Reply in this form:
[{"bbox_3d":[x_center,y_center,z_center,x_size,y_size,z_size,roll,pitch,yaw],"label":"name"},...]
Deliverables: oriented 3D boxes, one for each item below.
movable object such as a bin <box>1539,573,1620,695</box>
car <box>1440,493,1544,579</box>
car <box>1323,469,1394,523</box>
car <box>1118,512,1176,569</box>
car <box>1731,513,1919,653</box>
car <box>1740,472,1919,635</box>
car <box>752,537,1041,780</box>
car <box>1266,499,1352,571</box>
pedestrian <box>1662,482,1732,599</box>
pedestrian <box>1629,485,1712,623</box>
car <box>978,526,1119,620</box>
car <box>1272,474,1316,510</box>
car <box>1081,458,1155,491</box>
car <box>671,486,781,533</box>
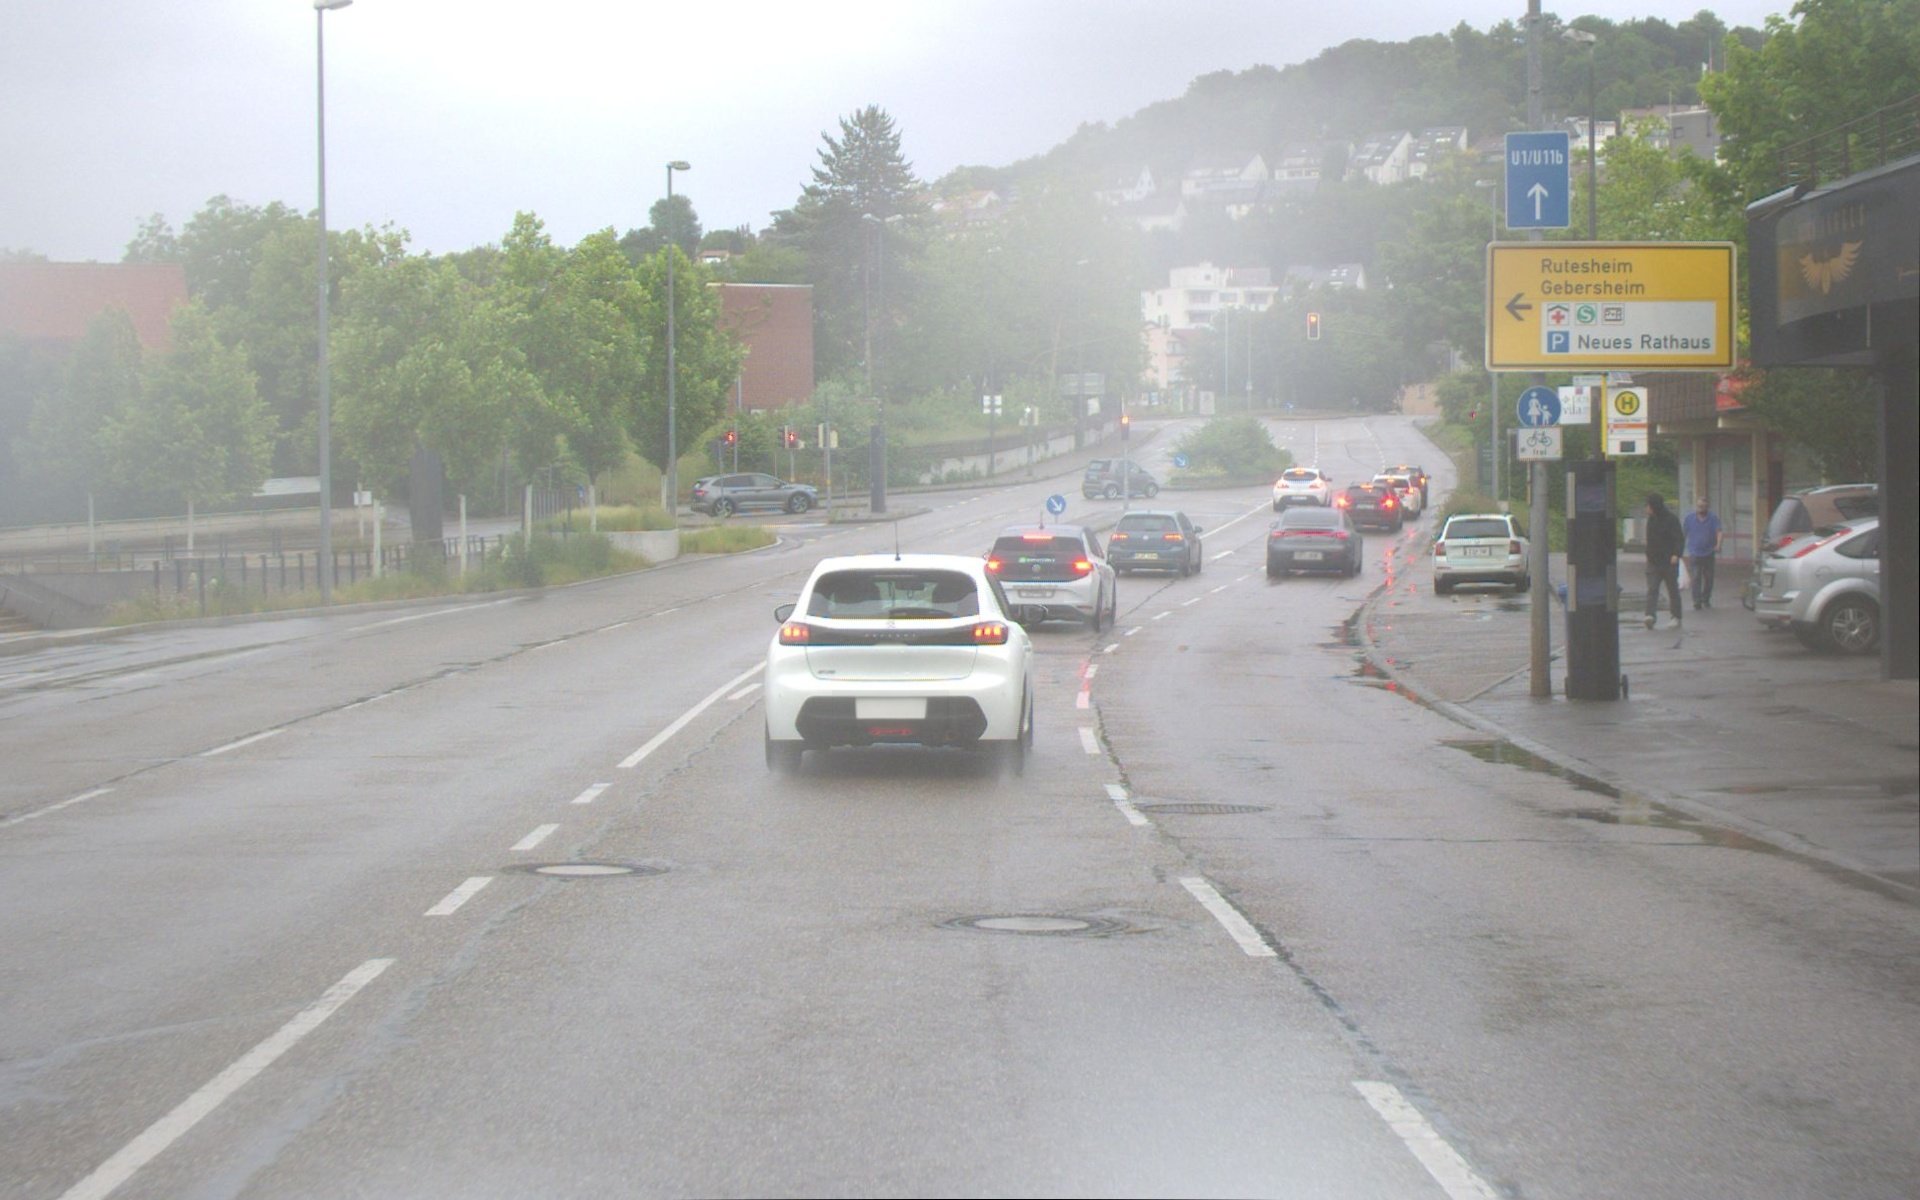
[{"bbox_3d":[5.693,0.308,31.615,0.636,1.070,0.698,-1,3,3],"label":"movable object such as a bin"},{"bbox_3d":[10.133,-1.243,65.306,1.731,1.492,4.479,-2,2,11],"label":"car"},{"bbox_3d":[12.048,-3.137,104.199,1.647,1.480,3.366,-1,0,-1],"label":"car"},{"bbox_3d":[4.034,-1.271,74.223,1.213,1.152,2.270,-1,0,3],"label":"car"},{"bbox_3d":[10.584,-0.227,37.528,3.987,1.442,1.746,-1,2,5],"label":"car"},{"bbox_3d":[11.545,-0.600,41.022,4.095,1.864,1.876,-1,2,5],"label":"car"},{"bbox_3d":[-0.358,0.345,23.776,1.691,1.514,3.933,1,1,3],"label":"car"},{"bbox_3d":[7.636,-1.446,75.410,1.734,1.383,3.352,1,4,4],"label":"car"},{"bbox_3d":[11.181,-0.912,52.180,0.875,1.731,0.760,-2,2,2],"label":"pedestrian"},{"bbox_3d":[9.535,-0.612,46.149,0.708,1.815,0.797,-1,-1,-26],"label":"pedestrian"},{"bbox_3d":[1.328,-0.400,50.200,1.742,1.291,3.333,-1,1,7],"label":"car"},{"bbox_3d":[11.553,-3.719,118.816,1.385,1.123,2.609,-1,0,8],"label":"car"},{"bbox_3d":[5.978,-4.745,130.059,2.418,1.153,1.371,-1,0,-29],"label":"car"},{"bbox_3d":[-8.432,-3.259,123.818,3.514,1.564,1.801,-1,0,-25],"label":"car"}]
